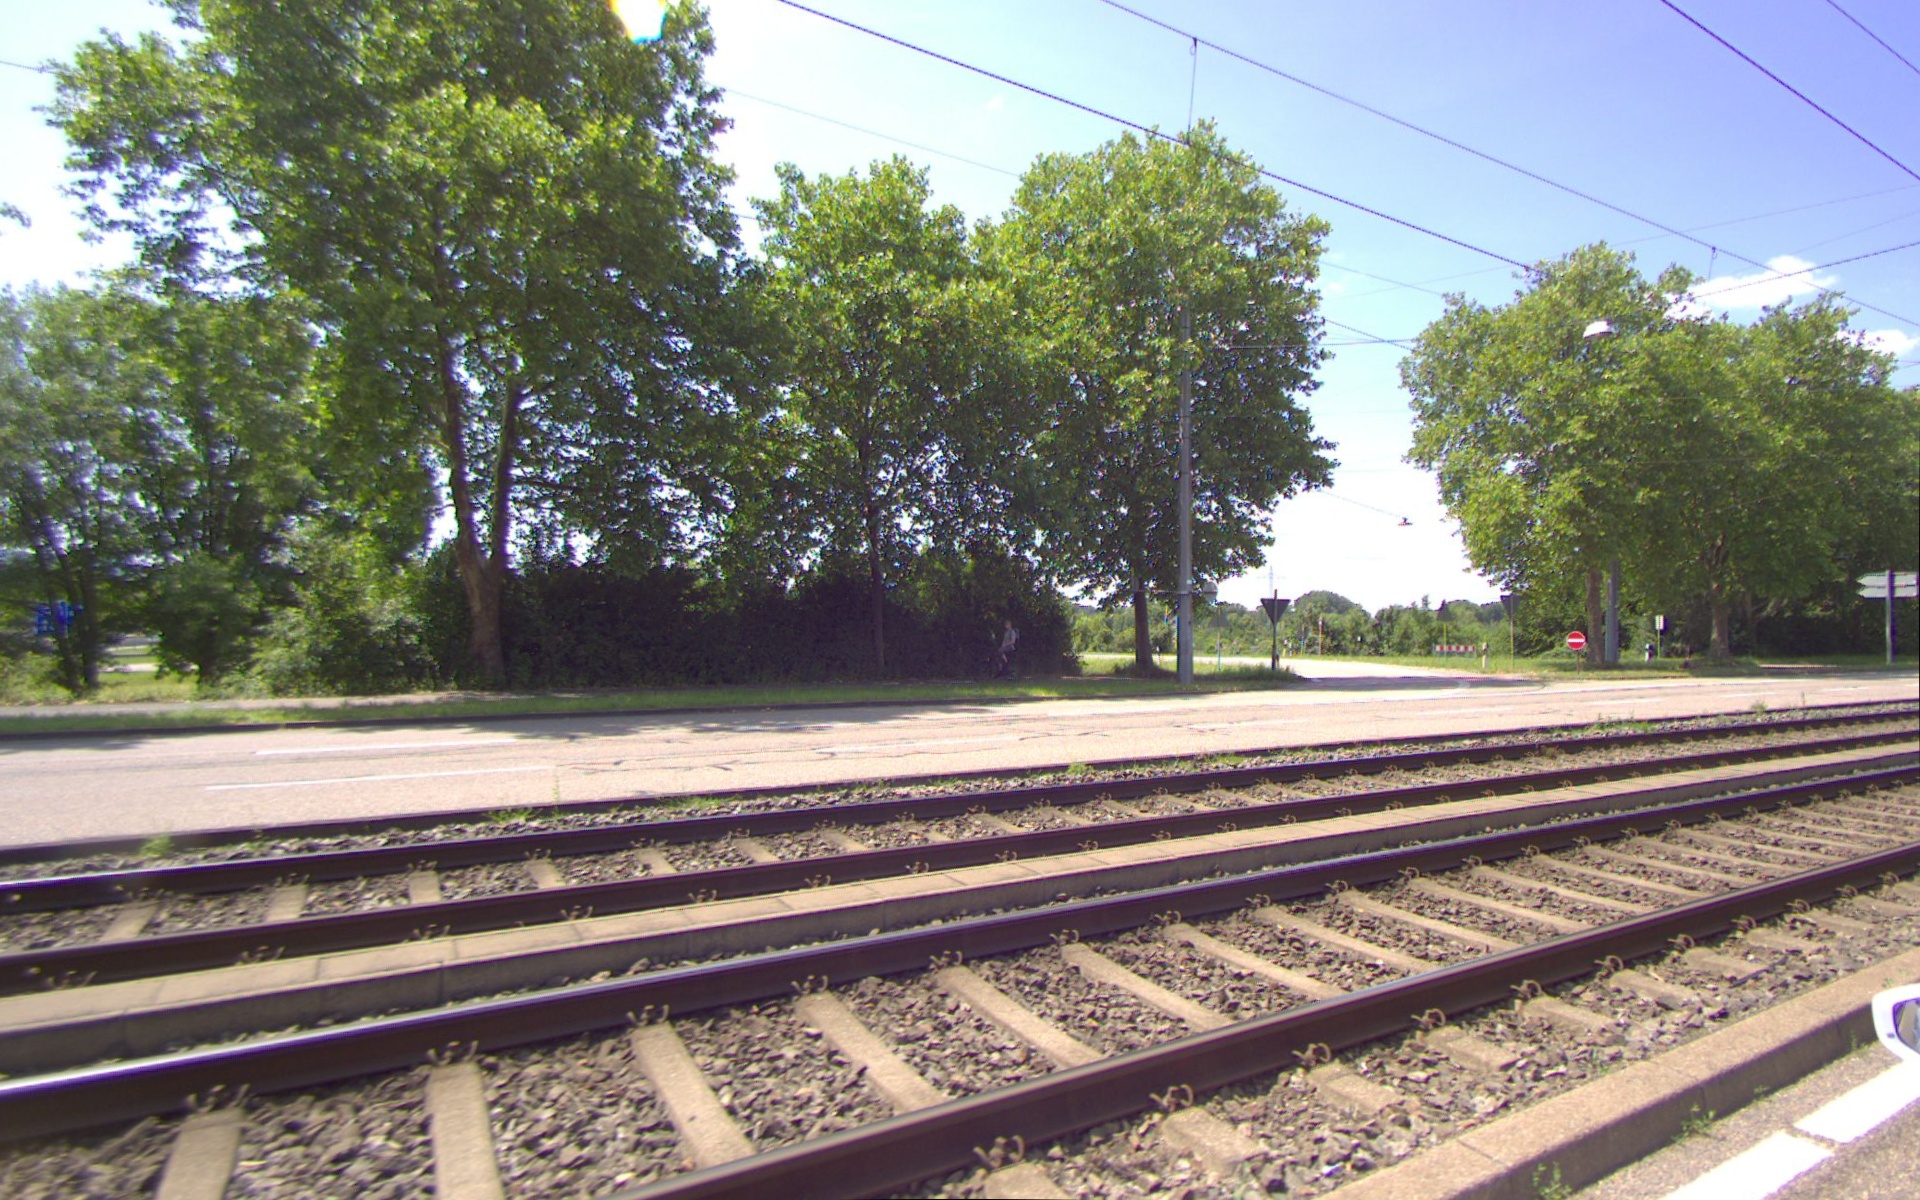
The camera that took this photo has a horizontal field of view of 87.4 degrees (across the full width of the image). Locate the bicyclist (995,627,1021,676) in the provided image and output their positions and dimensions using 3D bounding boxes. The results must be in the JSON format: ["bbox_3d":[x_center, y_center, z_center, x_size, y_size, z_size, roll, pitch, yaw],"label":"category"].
[{"bbox_3d":[1.454,1.551,30.437,0.635,1.448,0.585,1,-1,-17],"label":"bicyclist"}]

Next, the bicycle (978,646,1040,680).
[{"bbox_3d":[1.479,1.909,30.463,1.733,1.001,0.731,1,-1,-18],"label":"bicycle"}]

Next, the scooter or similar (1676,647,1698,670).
[{"bbox_3d":[32.623,2.623,45.084,0.982,1.036,0.298,1,2,-23],"label":"scooter or similar"}]
